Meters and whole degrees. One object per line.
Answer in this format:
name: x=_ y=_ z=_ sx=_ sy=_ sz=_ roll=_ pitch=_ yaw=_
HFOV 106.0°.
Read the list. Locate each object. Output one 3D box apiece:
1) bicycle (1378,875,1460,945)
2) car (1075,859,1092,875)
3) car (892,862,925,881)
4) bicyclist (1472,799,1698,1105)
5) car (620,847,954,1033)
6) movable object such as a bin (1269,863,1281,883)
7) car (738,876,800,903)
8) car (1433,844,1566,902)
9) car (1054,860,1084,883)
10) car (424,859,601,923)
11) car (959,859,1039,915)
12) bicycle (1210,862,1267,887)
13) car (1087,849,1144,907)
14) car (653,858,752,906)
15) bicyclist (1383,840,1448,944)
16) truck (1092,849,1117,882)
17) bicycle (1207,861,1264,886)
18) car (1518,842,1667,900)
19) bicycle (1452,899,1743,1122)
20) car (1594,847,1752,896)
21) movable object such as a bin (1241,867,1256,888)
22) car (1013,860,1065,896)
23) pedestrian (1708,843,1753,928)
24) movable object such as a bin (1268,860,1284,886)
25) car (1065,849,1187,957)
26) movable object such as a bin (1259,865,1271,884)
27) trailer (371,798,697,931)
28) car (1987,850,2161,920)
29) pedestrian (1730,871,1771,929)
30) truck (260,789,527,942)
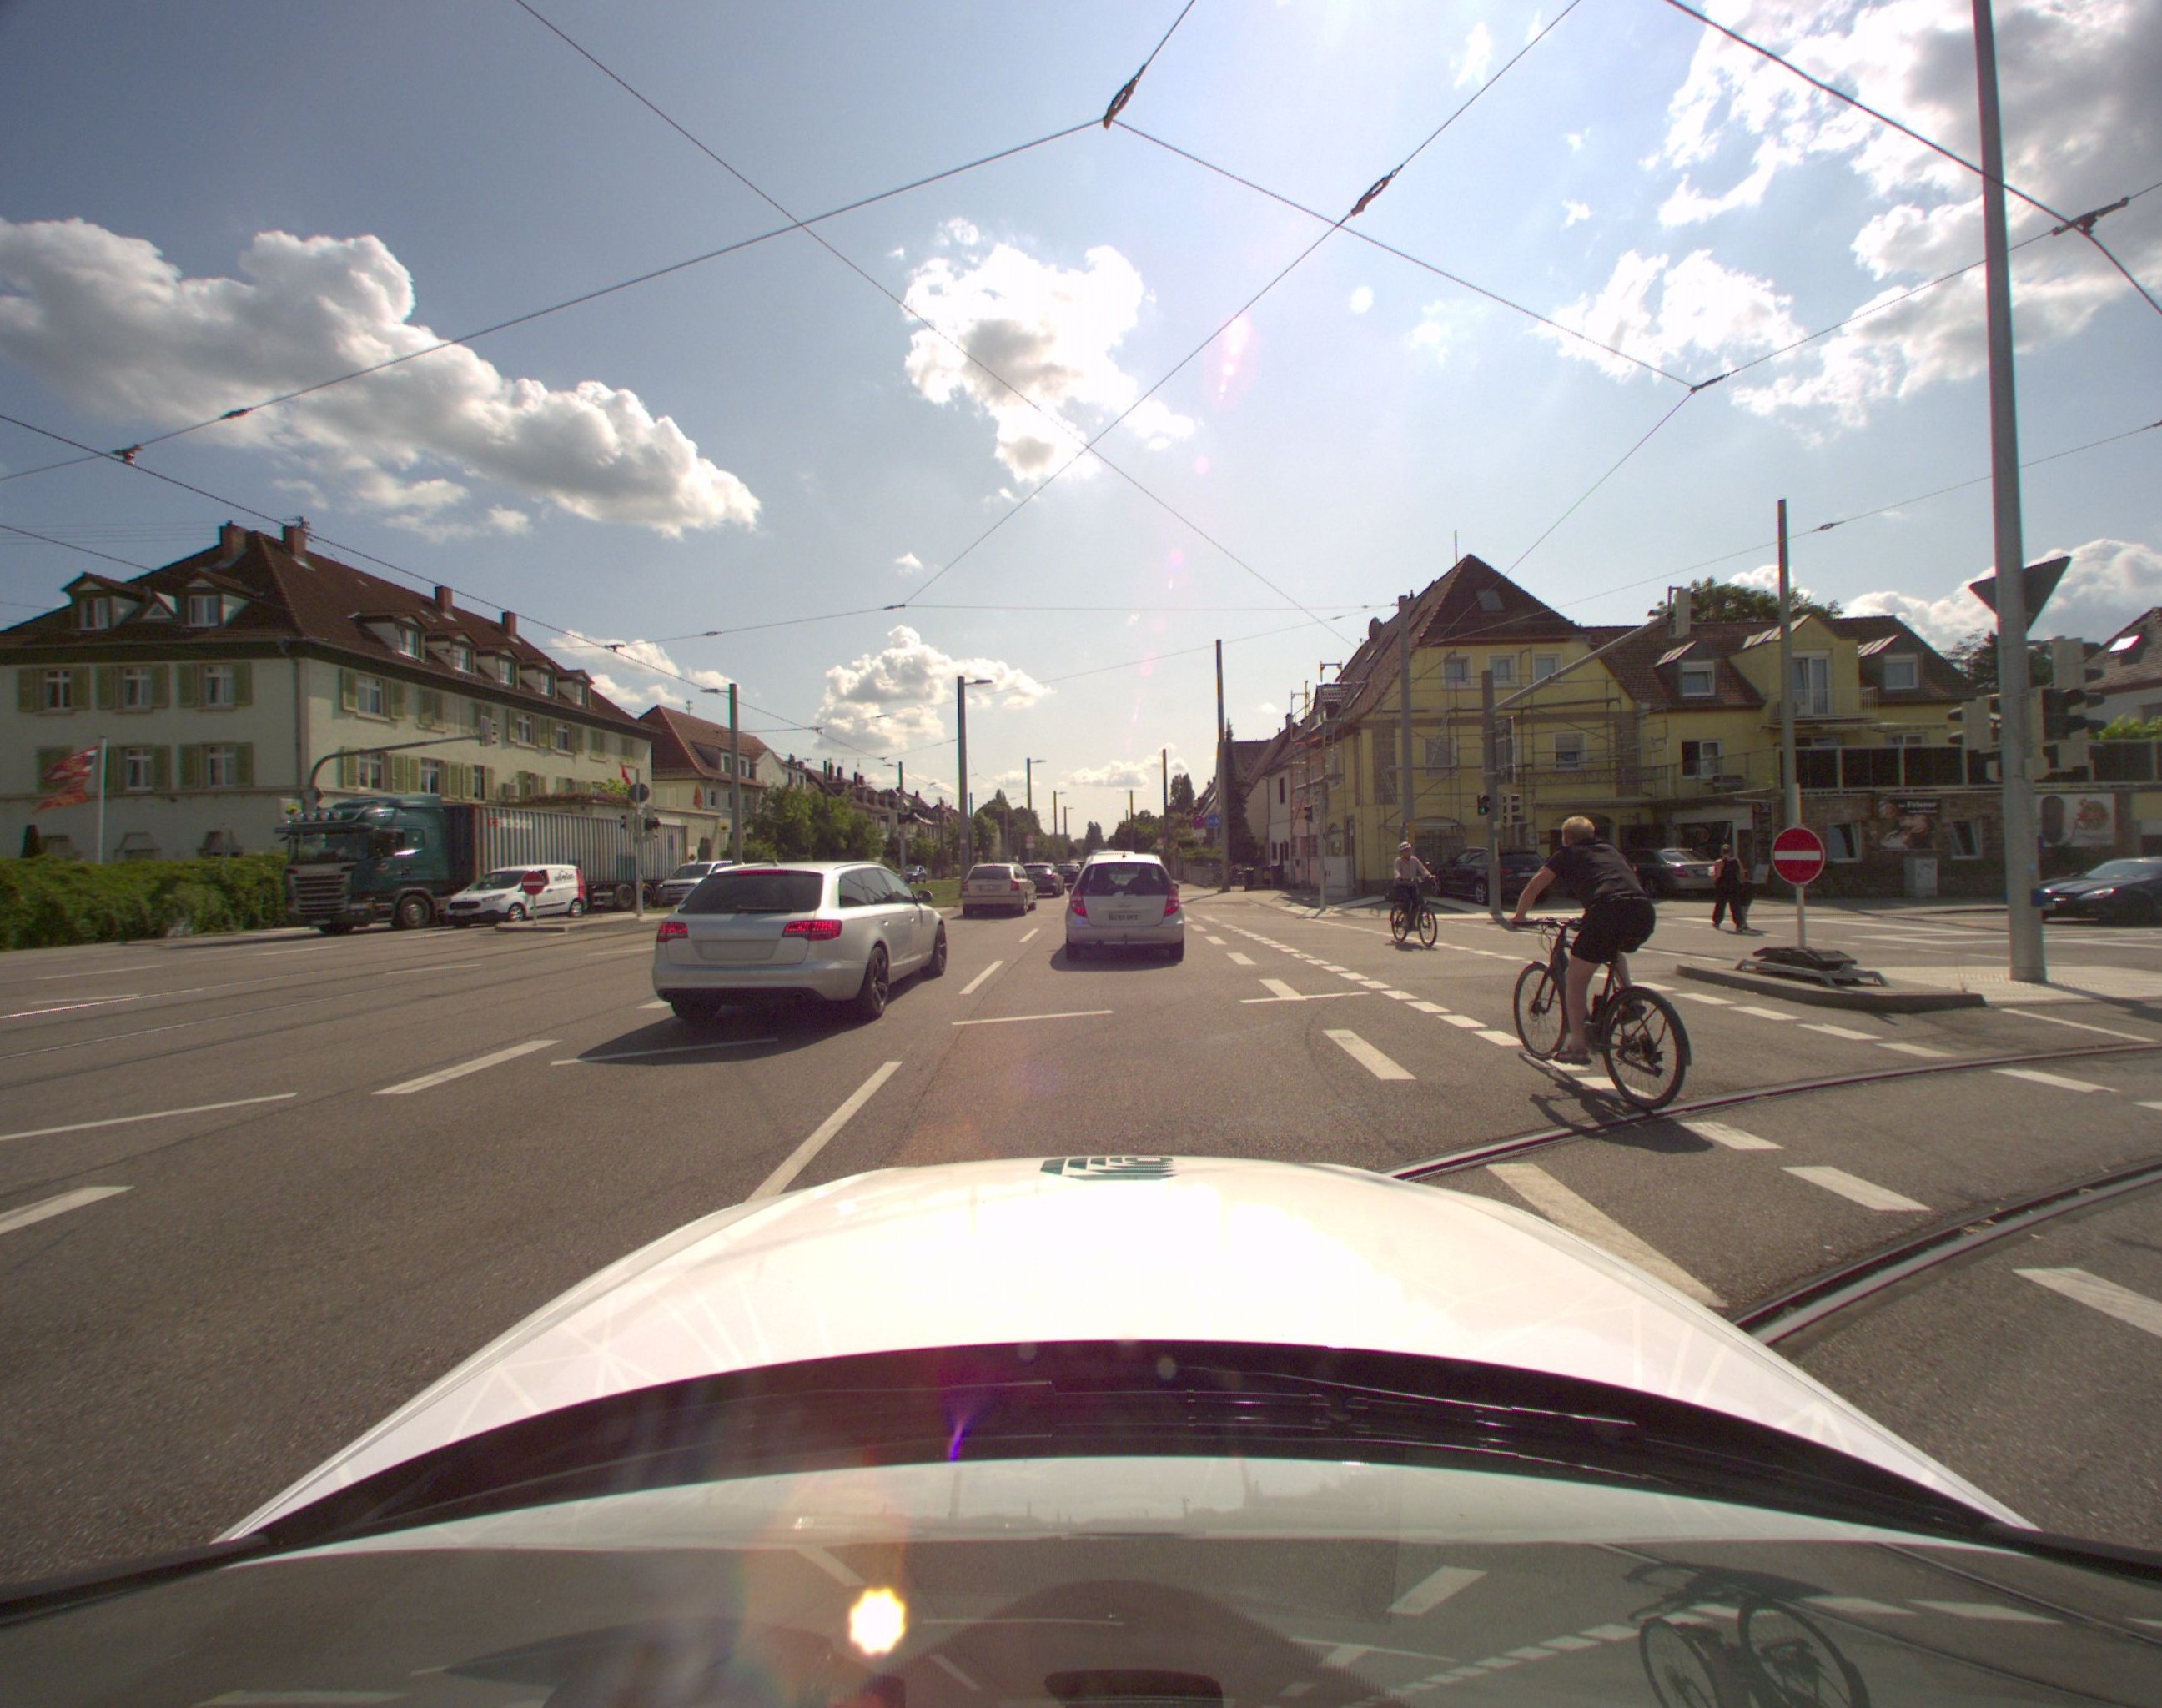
bicycle: x=5.754 y=0.927 z=13.957 sx=0.649 sy=1.117 sz=1.585 roll=0 pitch=-1 yaw=-5
car: x=0.290 y=1.456 z=91.282 sx=1.846 sy=1.843 sz=3.918 roll=0 pitch=-1 yaw=0
car: x=-16.911 y=1.720 z=79.926 sx=2.007 sy=1.712 sz=4.937 roll=-2 pitch=-1 yaw=1
bicyclist: x=3.251 y=0.587 z=5.384 sx=0.824 sy=1.794 sz=1.086 roll=-3 pitch=0 yaw=6
car: x=-2.701 y=0.711 z=8.818 sx=1.788 sy=1.472 sz=4.723 roll=0 pitch=-1 yaw=1
movable object such as a bin: x=9.753 y=0.959 z=41.027 sx=0.466 sy=0.947 sz=0.558 roll=-2 pitch=-1 yaw=2
car: x=-18.579 y=2.087 z=48.711 sx=1.787 sy=1.387 sz=4.474 roll=-2 pitch=-1 yaw=3
car: x=12.327 y=0.554 z=24.315 sx=1.986 sy=1.596 sz=4.133 roll=0 pitch=-1 yaw=2
car: x=-0.747 y=1.146 z=53.537 sx=1.846 sy=1.388 sz=4.514 roll=0 pitch=-1 yaw=0
car: x=-16.431 y=1.031 z=23.872 sx=1.786 sy=1.637 sz=4.475 roll=-2 pitch=-1 yaw=4
car: x=-2.276 y=0.873 z=23.554 sx=1.724 sy=1.449 sz=4.125 roll=0 pitch=0 yaw=2
bicycle: x=7.843 y=1.014 z=40.634 sx=2.652 sy=1.105 sz=0.786 roll=-2 pitch=-1 yaw=1
car: x=1.111 y=0.777 z=26.940 sx=1.723 sy=1.762 sz=4.017 roll=0 pitch=-1 yaw=2
car: x=-15.803 y=1.153 z=34.289 sx=1.788 sy=1.815 sz=4.714 roll=-2 pitch=-1 yaw=2
bicyclist: x=5.757 y=0.639 z=14.062 sx=0.649 sy=1.738 sz=0.982 roll=0 pitch=-1 yaw=-5
truck: x=1.830 y=0.909 z=65.428 sx=1.846 sy=2.552 sz=5.854 roll=0 pitch=-1 yaw=0
bicycle: x=7.841 y=0.981 z=41.349 sx=2.716 sy=1.120 sz=0.691 roll=-2 pitch=-1 yaw=1
car: x=15.148 y=0.506 z=24.429 sx=1.986 sy=1.596 sz=4.133 roll=0 pitch=-1 yaw=2
bicycle: x=3.268 y=0.917 z=5.437 sx=0.824 sy=1.075 sz=1.975 roll=-3 pitch=0 yaw=6
car: x=17.591 y=0.525 z=24.472 sx=1.860 sy=1.351 sz=4.133 roll=0 pitch=-1 yaw=2
movable object such as a bin: x=7.229 y=1.018 z=35.210 sx=0.509 sy=0.918 sz=0.742 roll=-1 pitch=-1 yaw=2
car: x=-1.777 y=1.001 z=35.599 sx=1.909 sy=1.477 sz=4.563 roll=0 pitch=-1 yaw=1
pedestrian: x=12.718 y=0.618 z=15.955 sx=0.544 sy=1.643 sz=0.402 roll=0 pitch=-1 yaw=6
movable object such as a bin: x=8.437 y=0.828 z=35.288 sx=0.509 sy=1.105 sz=0.855 roll=-1 pitch=-1 yaw=2
car: x=0.646 y=0.728 z=13.529 sx=1.724 sy=1.517 sz=4.015 roll=0 pitch=-1 yaw=0
movable object such as a bin: x=9.274 y=1.031 z=41.042 sx=0.466 sy=0.947 sz=0.558 roll=-1 pitch=-1 yaw=2
trailer: x=-19.368 y=0.282 z=30.701 sx=2.587 sy=3.821 sz=12.851 roll=-4 pitch=0 yaw=4
car: x=20.987 y=0.598 z=16.100 sx=4.303 sy=1.308 sz=1.738 roll=0 pitch=-1 yaw=-2
pedestrian: x=13.269 y=0.910 z=16.146 sx=0.486 sy=1.136 sz=0.389 roll=0 pitch=-1 yaw=2
truck: x=-19.858 y=0.285 z=24.056 sx=2.587 sy=3.821 sz=5.674 roll=-4 pitch=0 yaw=5
